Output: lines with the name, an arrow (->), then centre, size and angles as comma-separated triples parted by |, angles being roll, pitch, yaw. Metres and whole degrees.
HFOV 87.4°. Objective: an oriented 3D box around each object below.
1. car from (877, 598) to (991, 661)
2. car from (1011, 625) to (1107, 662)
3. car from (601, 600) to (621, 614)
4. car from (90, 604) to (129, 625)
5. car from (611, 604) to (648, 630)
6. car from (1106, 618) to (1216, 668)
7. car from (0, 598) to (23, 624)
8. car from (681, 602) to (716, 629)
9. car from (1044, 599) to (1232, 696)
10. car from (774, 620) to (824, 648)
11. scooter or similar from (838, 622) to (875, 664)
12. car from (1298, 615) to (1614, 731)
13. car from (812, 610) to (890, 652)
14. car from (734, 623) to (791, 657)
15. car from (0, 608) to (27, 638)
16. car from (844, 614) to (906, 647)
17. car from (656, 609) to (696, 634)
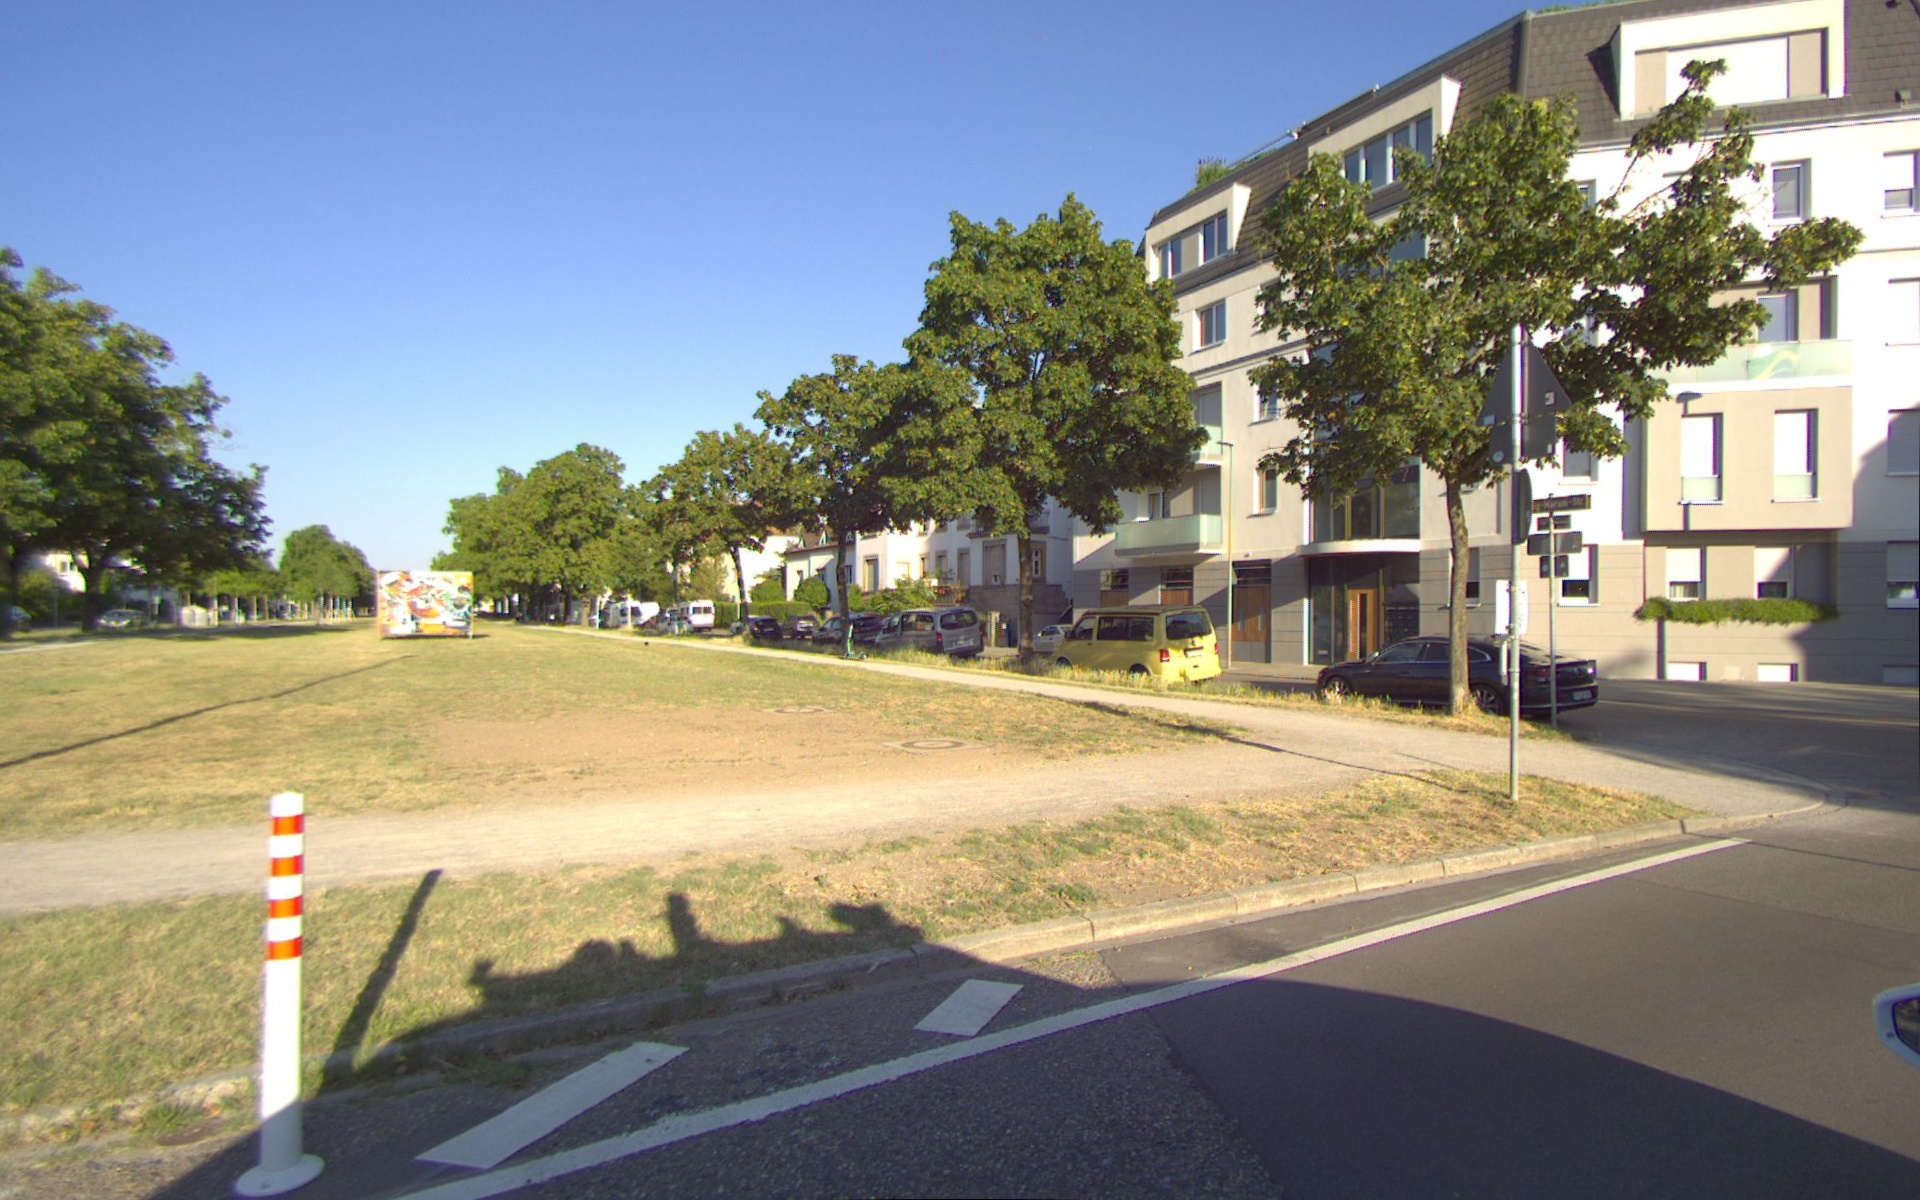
car -> -0.974, 0.983, 34.850 | 2.055, 2.040, 4.539 | 1, -1, -30
car -> 3.671, 1.619, 37.749 | 1.609, 1.257, 3.696 | 2, -1, -33
car -> -43.296, 0.855, 124.595 | 1.824, 1.765, 3.869 | 0, 0, -26
car -> -71.985, 1.211, 85.061 | 1.830, 1.718, 3.966 | -1, 1, -31
car -> -26.487, 1.342, 80.474 | 2.200, 1.972, 4.478 | 0, 0, -26
car -> 6.651, 1.385, 33.532 | 1.605, 1.441, 3.703 | -2, 1, -28
car -> -64.015, 0.751, 66.663 | 1.830, 1.718, 3.966 | -1, 1, -31
car -> -21.749, 1.274, 83.440 | 1.974, 2.243, 4.103 | 0, 0, -26
car -> 4.267, 1.066, 24.815 | 2.009, 2.041, 4.657 | -4, 1, -30
car -> -10.041, 2.089, 62.559 | 1.804, 1.601, 4.131 | 0, -1, -29
scooter or similar -> -2.979, 1.222, 28.848 | 0.447, 1.131, 1.636 | 0, 0, -28
car -> 8.336, 1.122, 17.427 | 1.766, 1.691, 4.803 | 1, -1, -28
car -> -4.402, 1.196, 40.100 | 1.804, 1.601, 3.807 | 0, 0, -29
car -> -10.154, 1.999, 51.496 | 1.804, 1.601, 3.807 | 0, 0, -29
car -> -57.054, 1.344, 59.577 | 1.786, 1.739, 3.318 | 2, -1, -30
car -> -4.438, 1.538, 51.893 | 1.804, 1.601, 3.807 | 0, 0, -29
car -> -18.978, 1.386, 67.058 | 1.804, 1.601, 3.807 | 0, 0, -29
